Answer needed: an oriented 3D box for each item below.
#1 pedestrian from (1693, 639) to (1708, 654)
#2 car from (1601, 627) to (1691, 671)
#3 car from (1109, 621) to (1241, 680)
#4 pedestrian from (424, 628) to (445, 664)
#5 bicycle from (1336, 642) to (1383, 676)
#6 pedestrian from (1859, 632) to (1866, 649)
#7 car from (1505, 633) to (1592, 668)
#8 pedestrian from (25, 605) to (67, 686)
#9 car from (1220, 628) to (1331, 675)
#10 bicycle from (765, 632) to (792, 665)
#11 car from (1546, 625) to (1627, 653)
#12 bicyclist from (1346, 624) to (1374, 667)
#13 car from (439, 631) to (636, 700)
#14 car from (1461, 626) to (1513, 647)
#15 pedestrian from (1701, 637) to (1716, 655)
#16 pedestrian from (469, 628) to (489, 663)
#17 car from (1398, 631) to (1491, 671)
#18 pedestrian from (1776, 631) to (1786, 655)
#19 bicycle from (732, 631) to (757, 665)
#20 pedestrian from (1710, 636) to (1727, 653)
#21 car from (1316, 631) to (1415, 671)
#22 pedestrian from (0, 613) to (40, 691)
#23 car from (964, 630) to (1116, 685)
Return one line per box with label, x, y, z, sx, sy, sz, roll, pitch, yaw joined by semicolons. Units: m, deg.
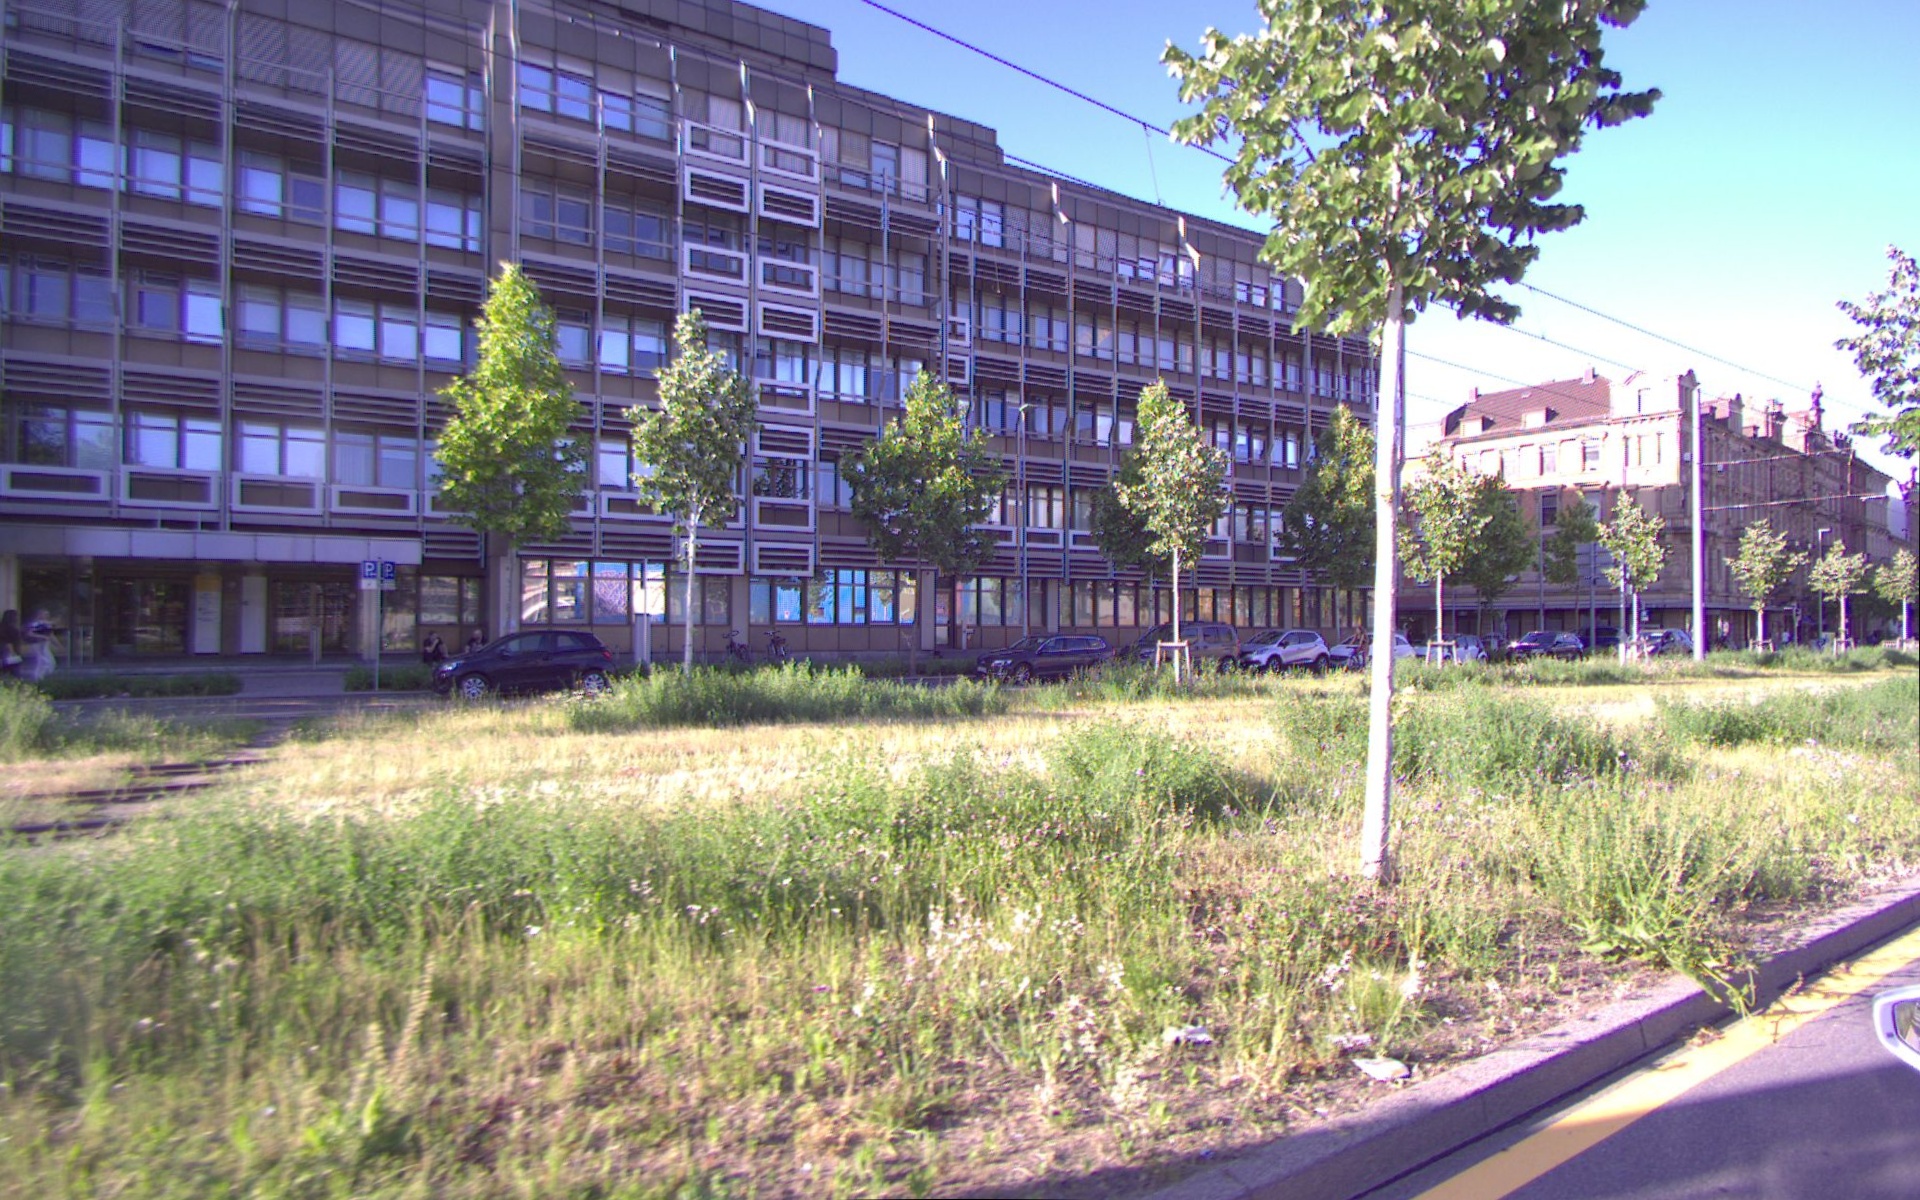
pedestrian;53.460;3.340;72.540;0.729;1.073;0.685;1;-2;-38
car;28.638;2.006;41.902;4.077;1.770;1.718;1;-1;-33
car;7.152;1.625;33.349;4.281;1.795;1.742;1;0;-31
pedestrian;-14.637;1.276;27.988;0.492;0.999;0.614;1;-2;-28
bicycle;13.795;2.025;34.662;1.751;1.110;0.562;1;-2;-33
pedestrian;87.359;3.928;97.210;0.422;1.606;0.400;1;0;-39
car;27.068;2.289;46.197;3.852;1.481;1.723;1;0;-29
pedestrian;-19.974;0.988;21.961;0.529;1.744;0.518;1;-2;-27
car;11.325;1.814;36.042;3.840;1.556;1.729;1;-1;-31
bicycle;-6.144;1.623;34.022;0.419;1.086;1.923;1;-2;-25
car;43.398;2.686;69.623;1.885;1.928;4.468;1;-2;-42
bicyclist;13.784;1.566;34.639;0.698;1.476;0.562;1;-2;-32
car;-9.661;1.453;23.037;3.993;1.405;1.707;1;0;-31
car;38.953;2.694;74.275;1.374;1.487;3.115;1;-2;-42
pedestrian;53.209;3.250;71.403;0.921;1.263;0.685;2;-2;-38
pedestrian;-13.709;1.295;28.621;0.492;0.999;0.614;1;-2;-28
car;20.297;2.095;42.057;3.921;1.574;1.641;1;-1;-31
pedestrian;63.432;3.302;77.612;0.403;1.788;0.504;1;0;-38
bicycle;-7.172;1.596;33.386;0.419;1.086;1.869;1;-2;-25
pedestrian;54.825;3.214;72.591;0.921;1.224;0.785;2;-2;-38
car;15.688;1.938;38.785;3.775;1.460;1.616;1;0;-31
pedestrian;-19.770;1.082;21.071;0.529;1.599;0.518;1;-2;-27
car;2.462;1.696;30.382;4.455;1.488;1.720;1;0;-33
